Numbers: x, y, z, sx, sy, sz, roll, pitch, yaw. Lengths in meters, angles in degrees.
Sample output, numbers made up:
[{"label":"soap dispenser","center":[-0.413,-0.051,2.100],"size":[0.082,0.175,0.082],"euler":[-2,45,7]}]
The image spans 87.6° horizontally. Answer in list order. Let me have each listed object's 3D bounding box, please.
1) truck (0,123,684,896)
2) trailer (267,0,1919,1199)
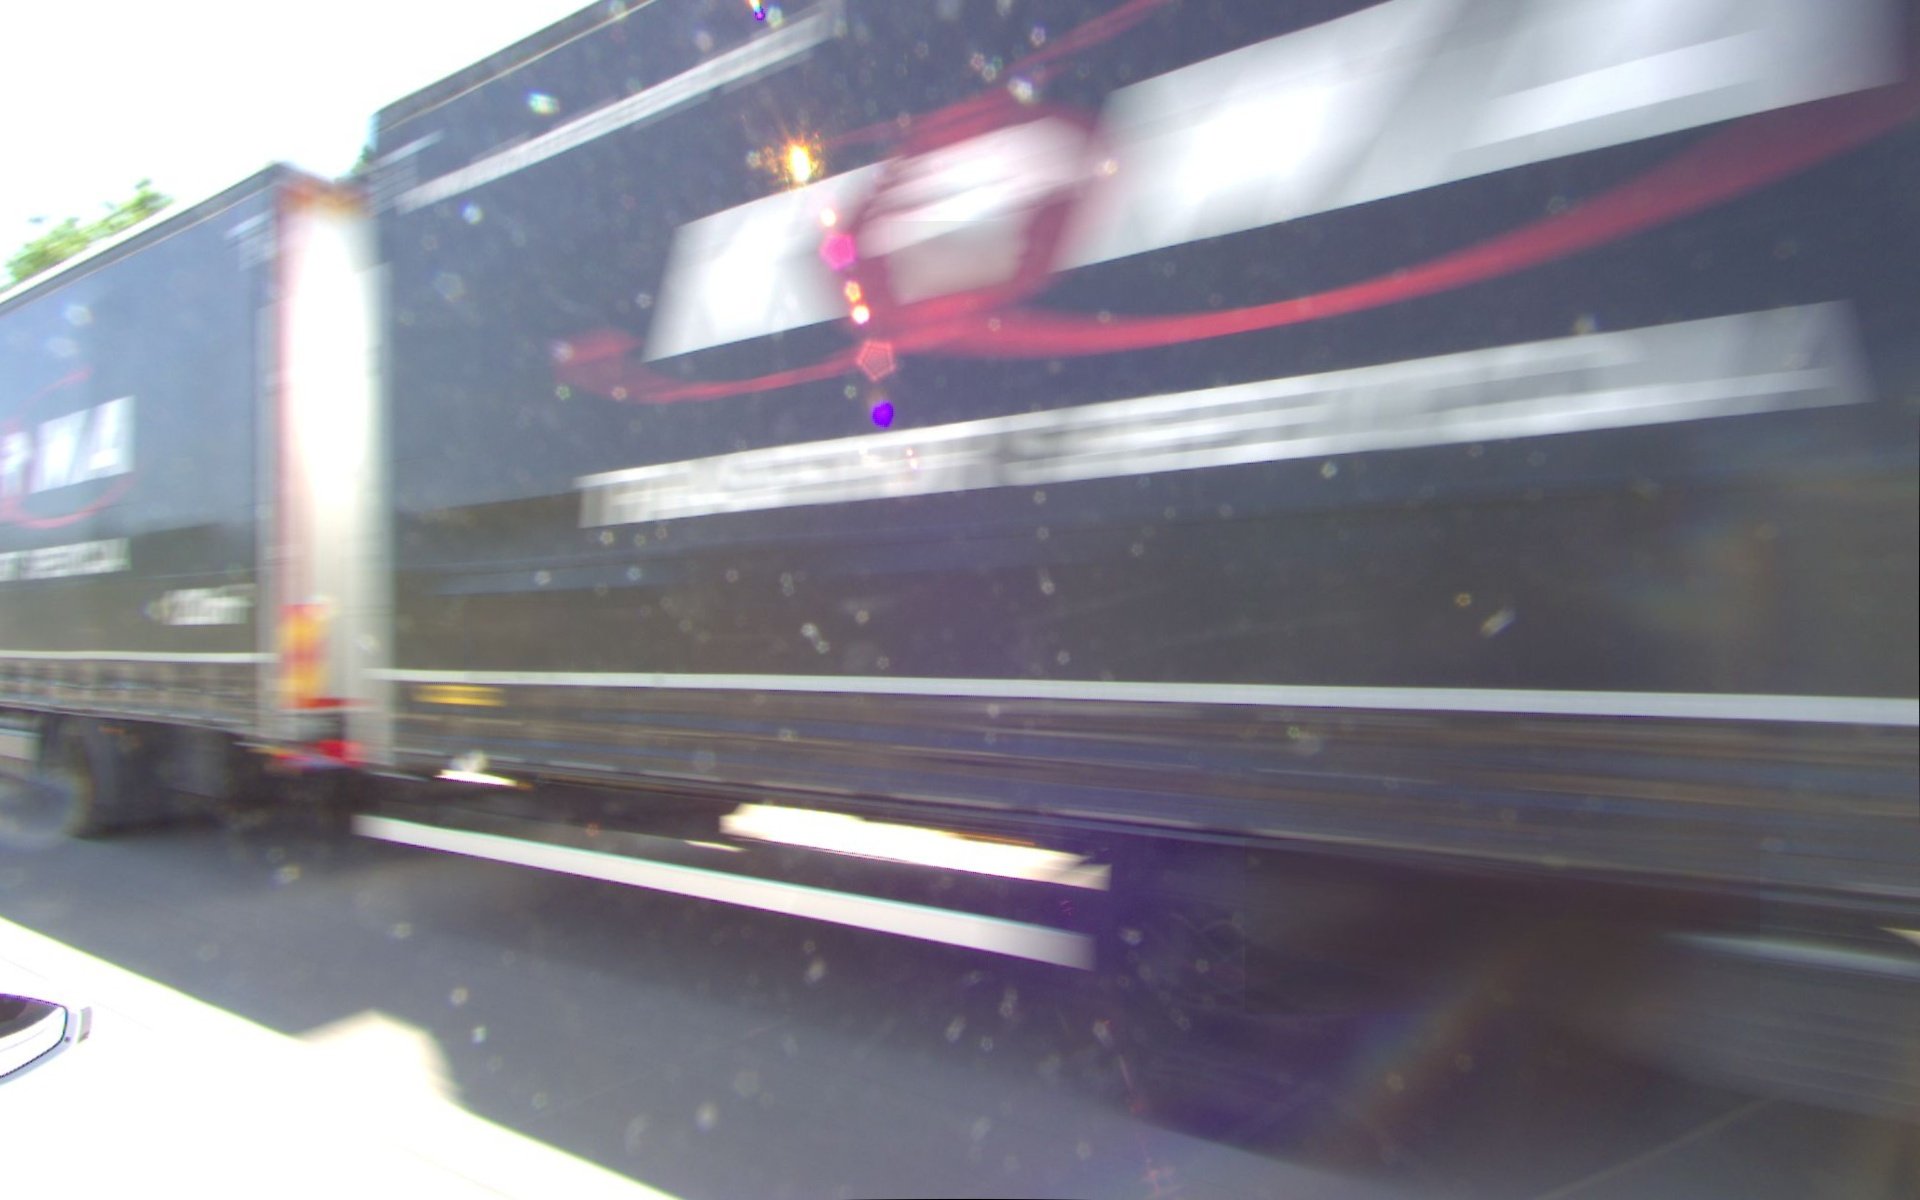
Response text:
[{"label":"truck","center":[-7.416,-0.364,9.433],"size":[10.457,4.068,3.154],"euler":[-1,-1,33]},{"label":"trailer","center":[1.073,-0.525,4.034],"size":[8.958,4.068,3.129],"euler":[-1,-1,32]}]
